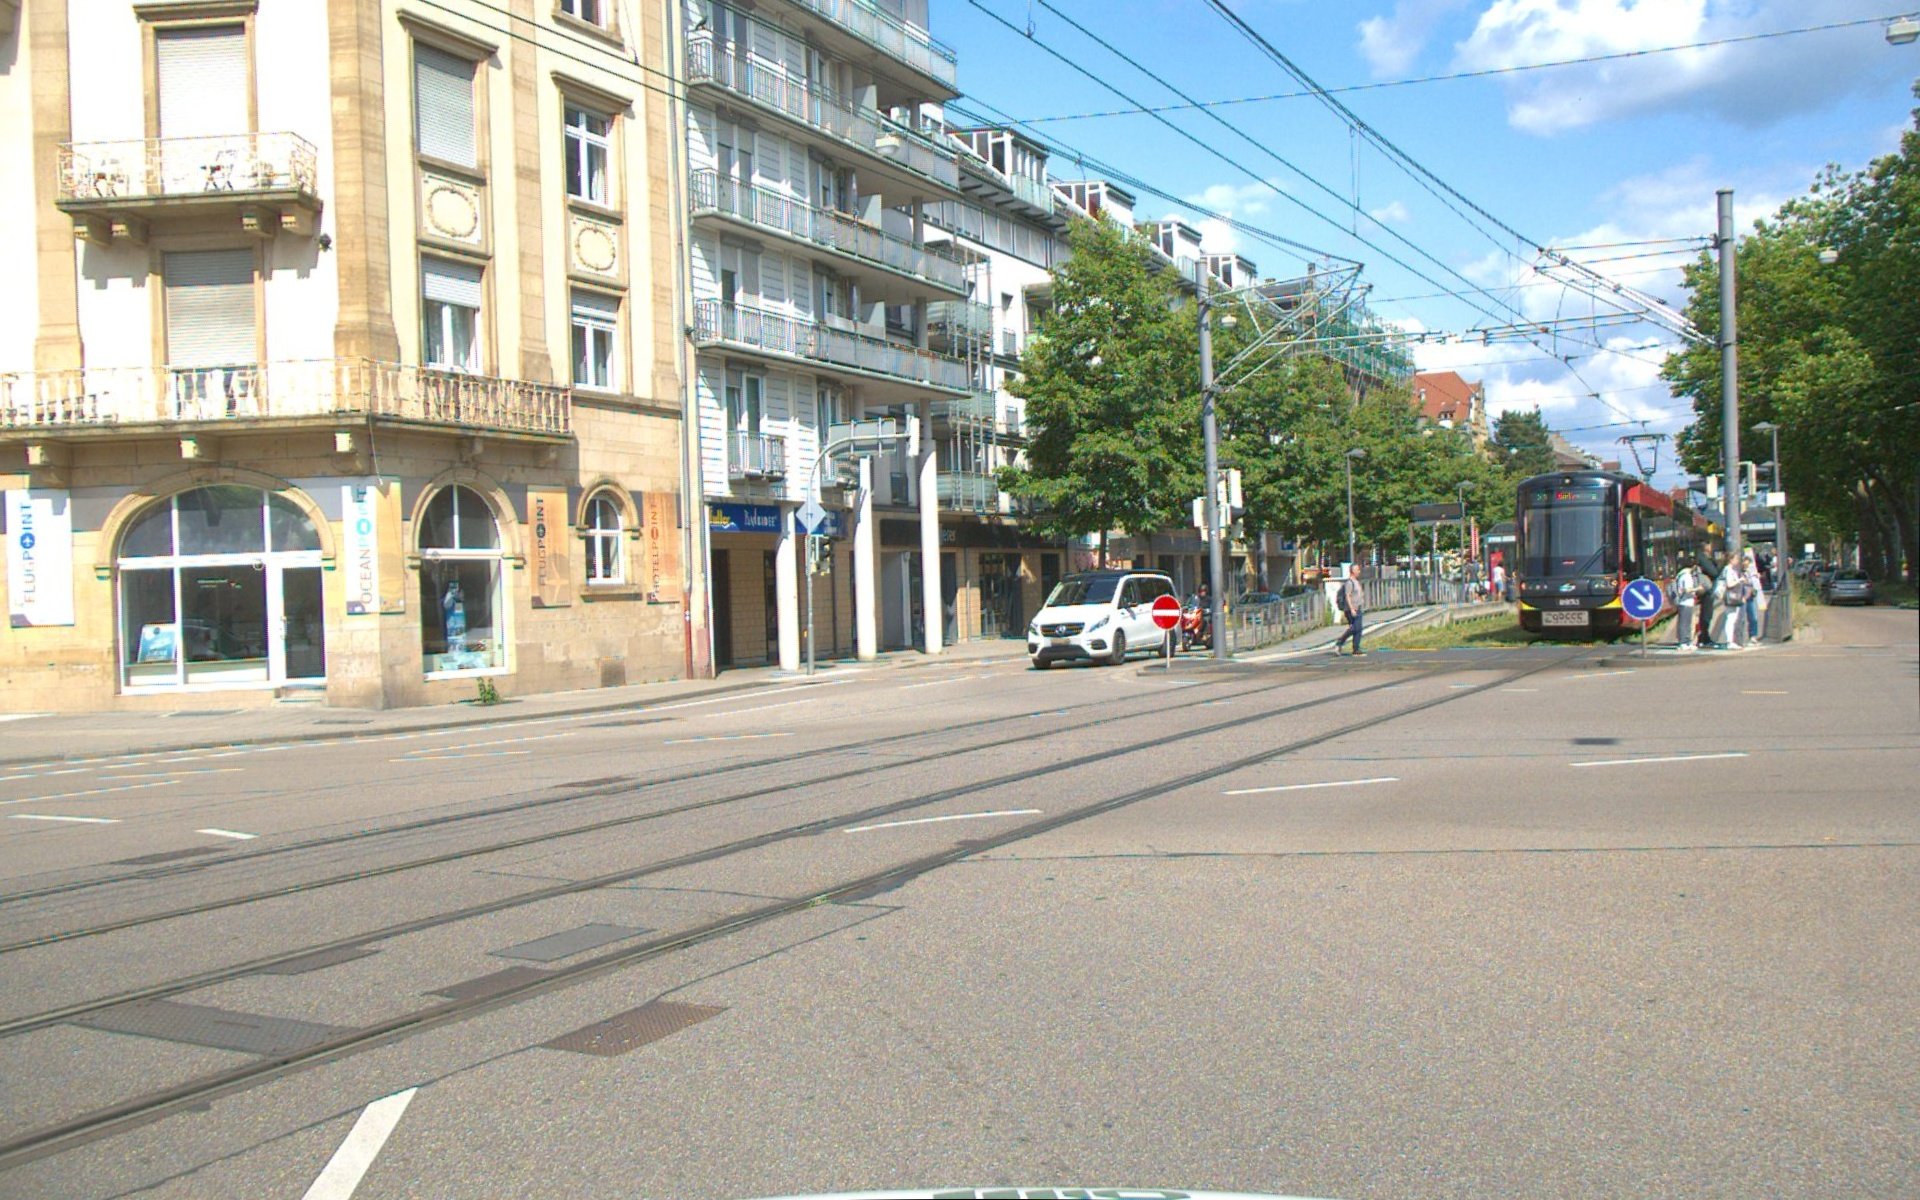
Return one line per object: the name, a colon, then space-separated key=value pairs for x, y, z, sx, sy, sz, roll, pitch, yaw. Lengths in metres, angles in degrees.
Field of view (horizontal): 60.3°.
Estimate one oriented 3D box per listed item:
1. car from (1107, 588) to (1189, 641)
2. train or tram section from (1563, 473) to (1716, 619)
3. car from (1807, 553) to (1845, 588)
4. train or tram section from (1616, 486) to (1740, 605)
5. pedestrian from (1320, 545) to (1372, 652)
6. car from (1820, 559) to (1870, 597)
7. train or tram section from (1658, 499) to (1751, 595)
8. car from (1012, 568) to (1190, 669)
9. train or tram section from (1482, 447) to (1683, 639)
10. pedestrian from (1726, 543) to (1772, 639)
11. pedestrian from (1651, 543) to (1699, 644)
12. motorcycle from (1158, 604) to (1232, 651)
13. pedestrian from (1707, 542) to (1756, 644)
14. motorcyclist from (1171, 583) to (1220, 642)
car: x=6.985 y=0.497 z=61.101 sx=1.810 sy=1.820 sz=3.997 roll=0 pitch=1 yaw=26
train or tram section: x=19.721 y=-1.499 z=47.534 sx=2.752 sy=3.623 sz=11.165 roll=-3 pitch=0 yaw=29
car: x=52.804 y=-1.834 z=100.810 sx=1.955 sy=2.049 sz=3.994 roll=-1 pitch=1 yaw=28
train or tram section: x=25.247 y=-1.853 z=57.756 sx=2.753 sy=3.623 sz=12.138 roll=-3 pitch=0 yaw=29
pedestrian: x=7.502 y=-0.031 z=32.178 sx=0.725 sy=2.049 sz=0.702 roll=-2 pitch=0 yaw=32
car: x=36.597 y=-0.921 z=68.393 sx=1.715 sy=1.478 sz=3.600 roll=-2 pitch=0 yaw=29
train or tram section: x=30.253 y=-2.114 z=67.024 sx=2.714 sy=3.543 sz=8.894 roll=-2 pitch=0 yaw=28
car: x=3.111 y=0.343 z=35.365 sx=1.955 sy=1.924 sz=5.167 roll=-2 pitch=0 yaw=27
train or tram section: x=14.411 y=-1.224 z=37.583 sx=2.742 sy=3.623 sz=11.362 roll=-3 pitch=0 yaw=28
pedestrian: x=14.492 y=-0.164 z=30.387 sx=0.657 sy=1.732 sz=0.647 roll=-2 pitch=0 yaw=29
pedestrian: x=12.592 y=-0.118 z=29.116 sx=0.657 sy=1.732 sz=0.647 roll=-2 pitch=0 yaw=29
motorcycle: x=5.970 y=0.672 z=41.806 sx=0.876 sy=1.041 sz=3.098 roll=-2 pitch=0 yaw=27
pedestrian: x=13.389 y=-0.119 z=28.692 sx=0.657 sy=1.732 sz=0.647 roll=-2 pitch=0 yaw=29
motorcyclist: x=5.961 y=0.315 z=41.817 sx=0.876 sy=1.428 sz=1.087 roll=-2 pitch=0 yaw=27
